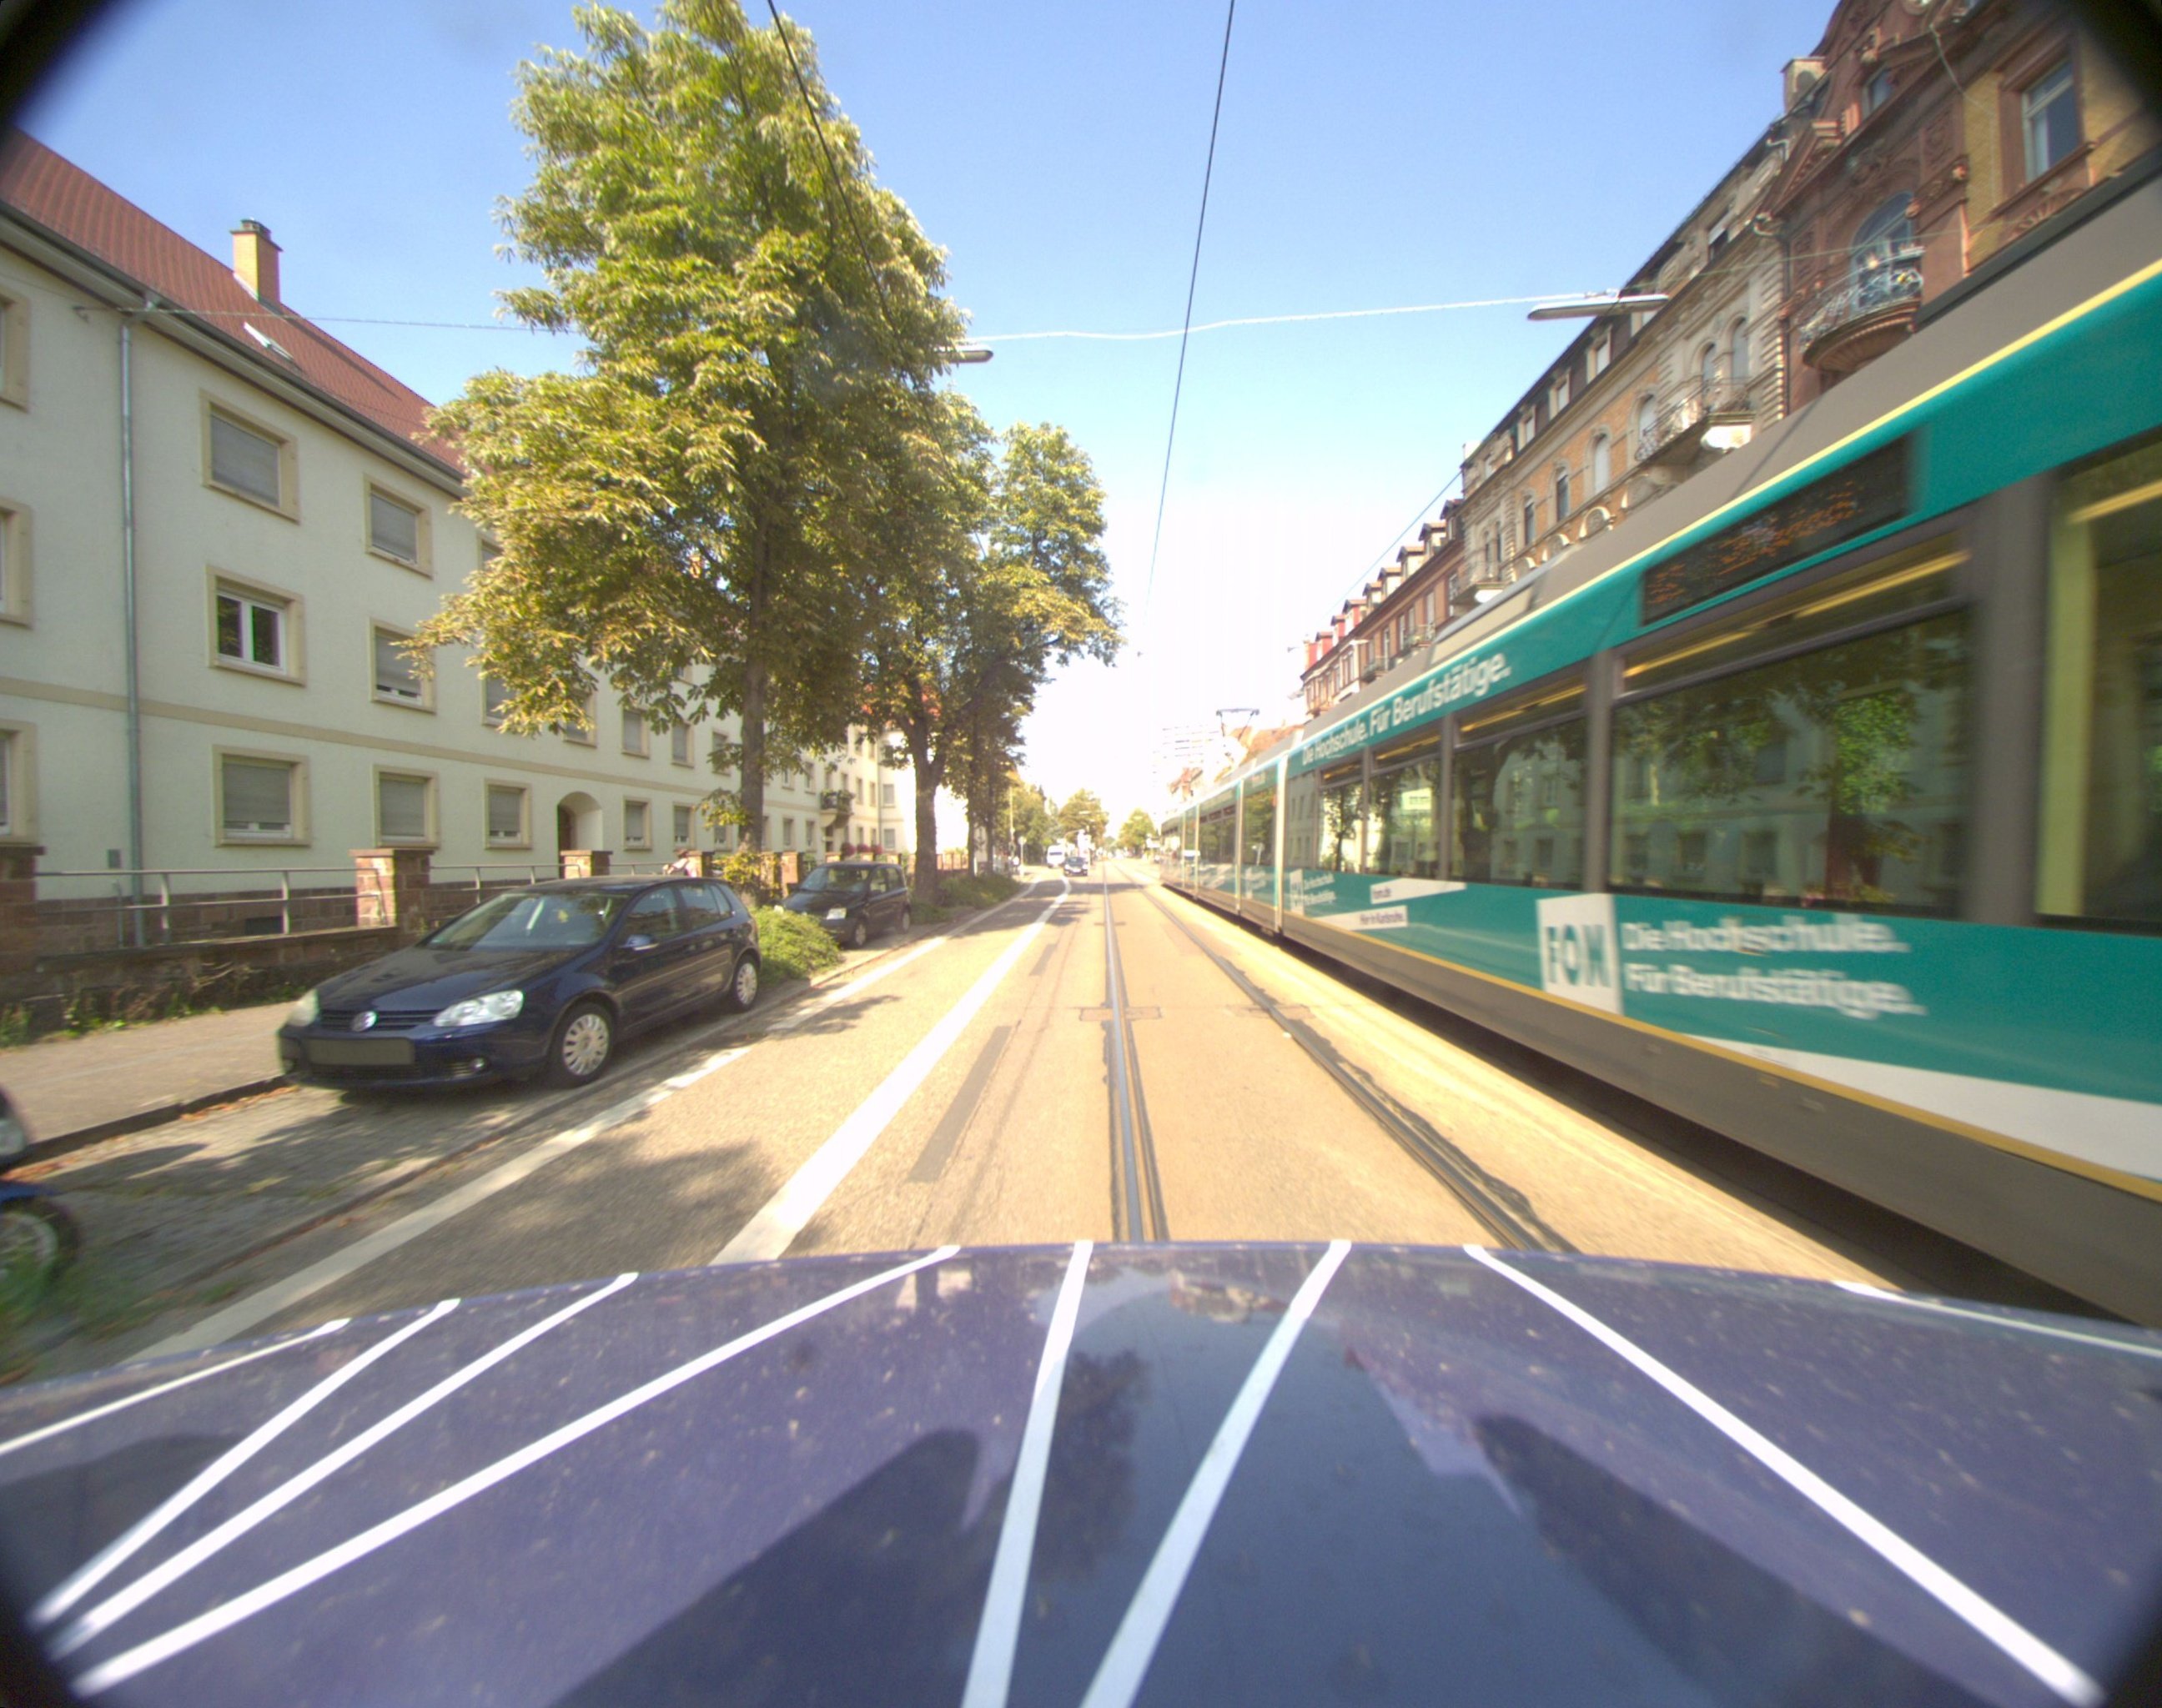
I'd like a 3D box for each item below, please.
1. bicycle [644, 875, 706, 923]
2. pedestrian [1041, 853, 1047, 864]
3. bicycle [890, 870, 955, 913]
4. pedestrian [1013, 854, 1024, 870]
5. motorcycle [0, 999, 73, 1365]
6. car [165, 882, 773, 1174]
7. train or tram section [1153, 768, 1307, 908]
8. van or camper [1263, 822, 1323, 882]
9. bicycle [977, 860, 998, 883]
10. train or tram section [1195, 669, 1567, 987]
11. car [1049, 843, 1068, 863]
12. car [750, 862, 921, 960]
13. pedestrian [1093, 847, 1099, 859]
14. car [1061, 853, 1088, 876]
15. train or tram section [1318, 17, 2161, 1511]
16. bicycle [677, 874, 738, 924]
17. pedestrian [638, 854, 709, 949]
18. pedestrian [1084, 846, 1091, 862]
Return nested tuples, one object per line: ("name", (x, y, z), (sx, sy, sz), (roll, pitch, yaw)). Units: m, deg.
("bicycle", (-10.169, 1.098, 19.103), (0.525, 1.067, 1.728), (-2, 1, 3))
("pedestrian", (-5.635, 0.658, 115.681), (0.542, 1.708, 0.662), (-1, 1, 18))
("bicycle", (-4.380, 1.021, 21.055), (0.524, 1.067, 1.732), (-1, 1, 44))
("pedestrian", (-6.589, 0.833, 80.252), (1.079, 1.715, 0.969), (2, 1, 1))
("motorcycle", (-4.778, 1.138, 2.478), (1.859, 1.281, 0.705), (2, -4, -1))
("car", (-4.399, 1.084, 6.511), (1.649, 1.440, 4.246), (0, 1, 2))
("train or tram section", (4.540, -0.497, 27.076), (2.741, 3.485, 15.432), (-2, 1, 1))
("van or camper", (10.185, -0.152, 36.920), (2.054, 2.629, 6.092), (-1, 1, 9))
("bicycle", (-4.727, 0.860, 38.418), (0.773, 1.097, 2.333), (-1, 1, 0))
("train or tram section", (4.188, -0.345, 13.943), (2.741, 3.485, 10.775), (-2, 1, 1))
("car", (-2.730, -0.161, 92.028), (2.088, 2.264, 4.826), (-2, 0, -2))
("car", (-4.532, 0.976, 14.688), (1.648, 1.531, 3.843), (0, 1, 7))
("pedestrian", (1.940, -0.127, 98.244), (0.590, 1.536, 0.607), (-1, 1, 4))
("car", (-0.435, 0.711, 54.480), (1.775, 1.459, 4.000), (-2, 0, 1))
("train or tram section", (3.929, -0.231, 3.072), (2.741, 3.485, 10.775), (-2, 1, 1))
("bicycle", (-9.116, 1.077, 18.595), (0.525, 1.067, 1.728), (-2, 1, 3))
("pedestrian", (-7.779, 0.891, 14.549), (0.754, 1.739, 0.878), (-2, 1, 8))
("pedestrian", (0.725, -0.034, 85.360), (0.691, 1.756, 0.796), (-2, 1, 1))
